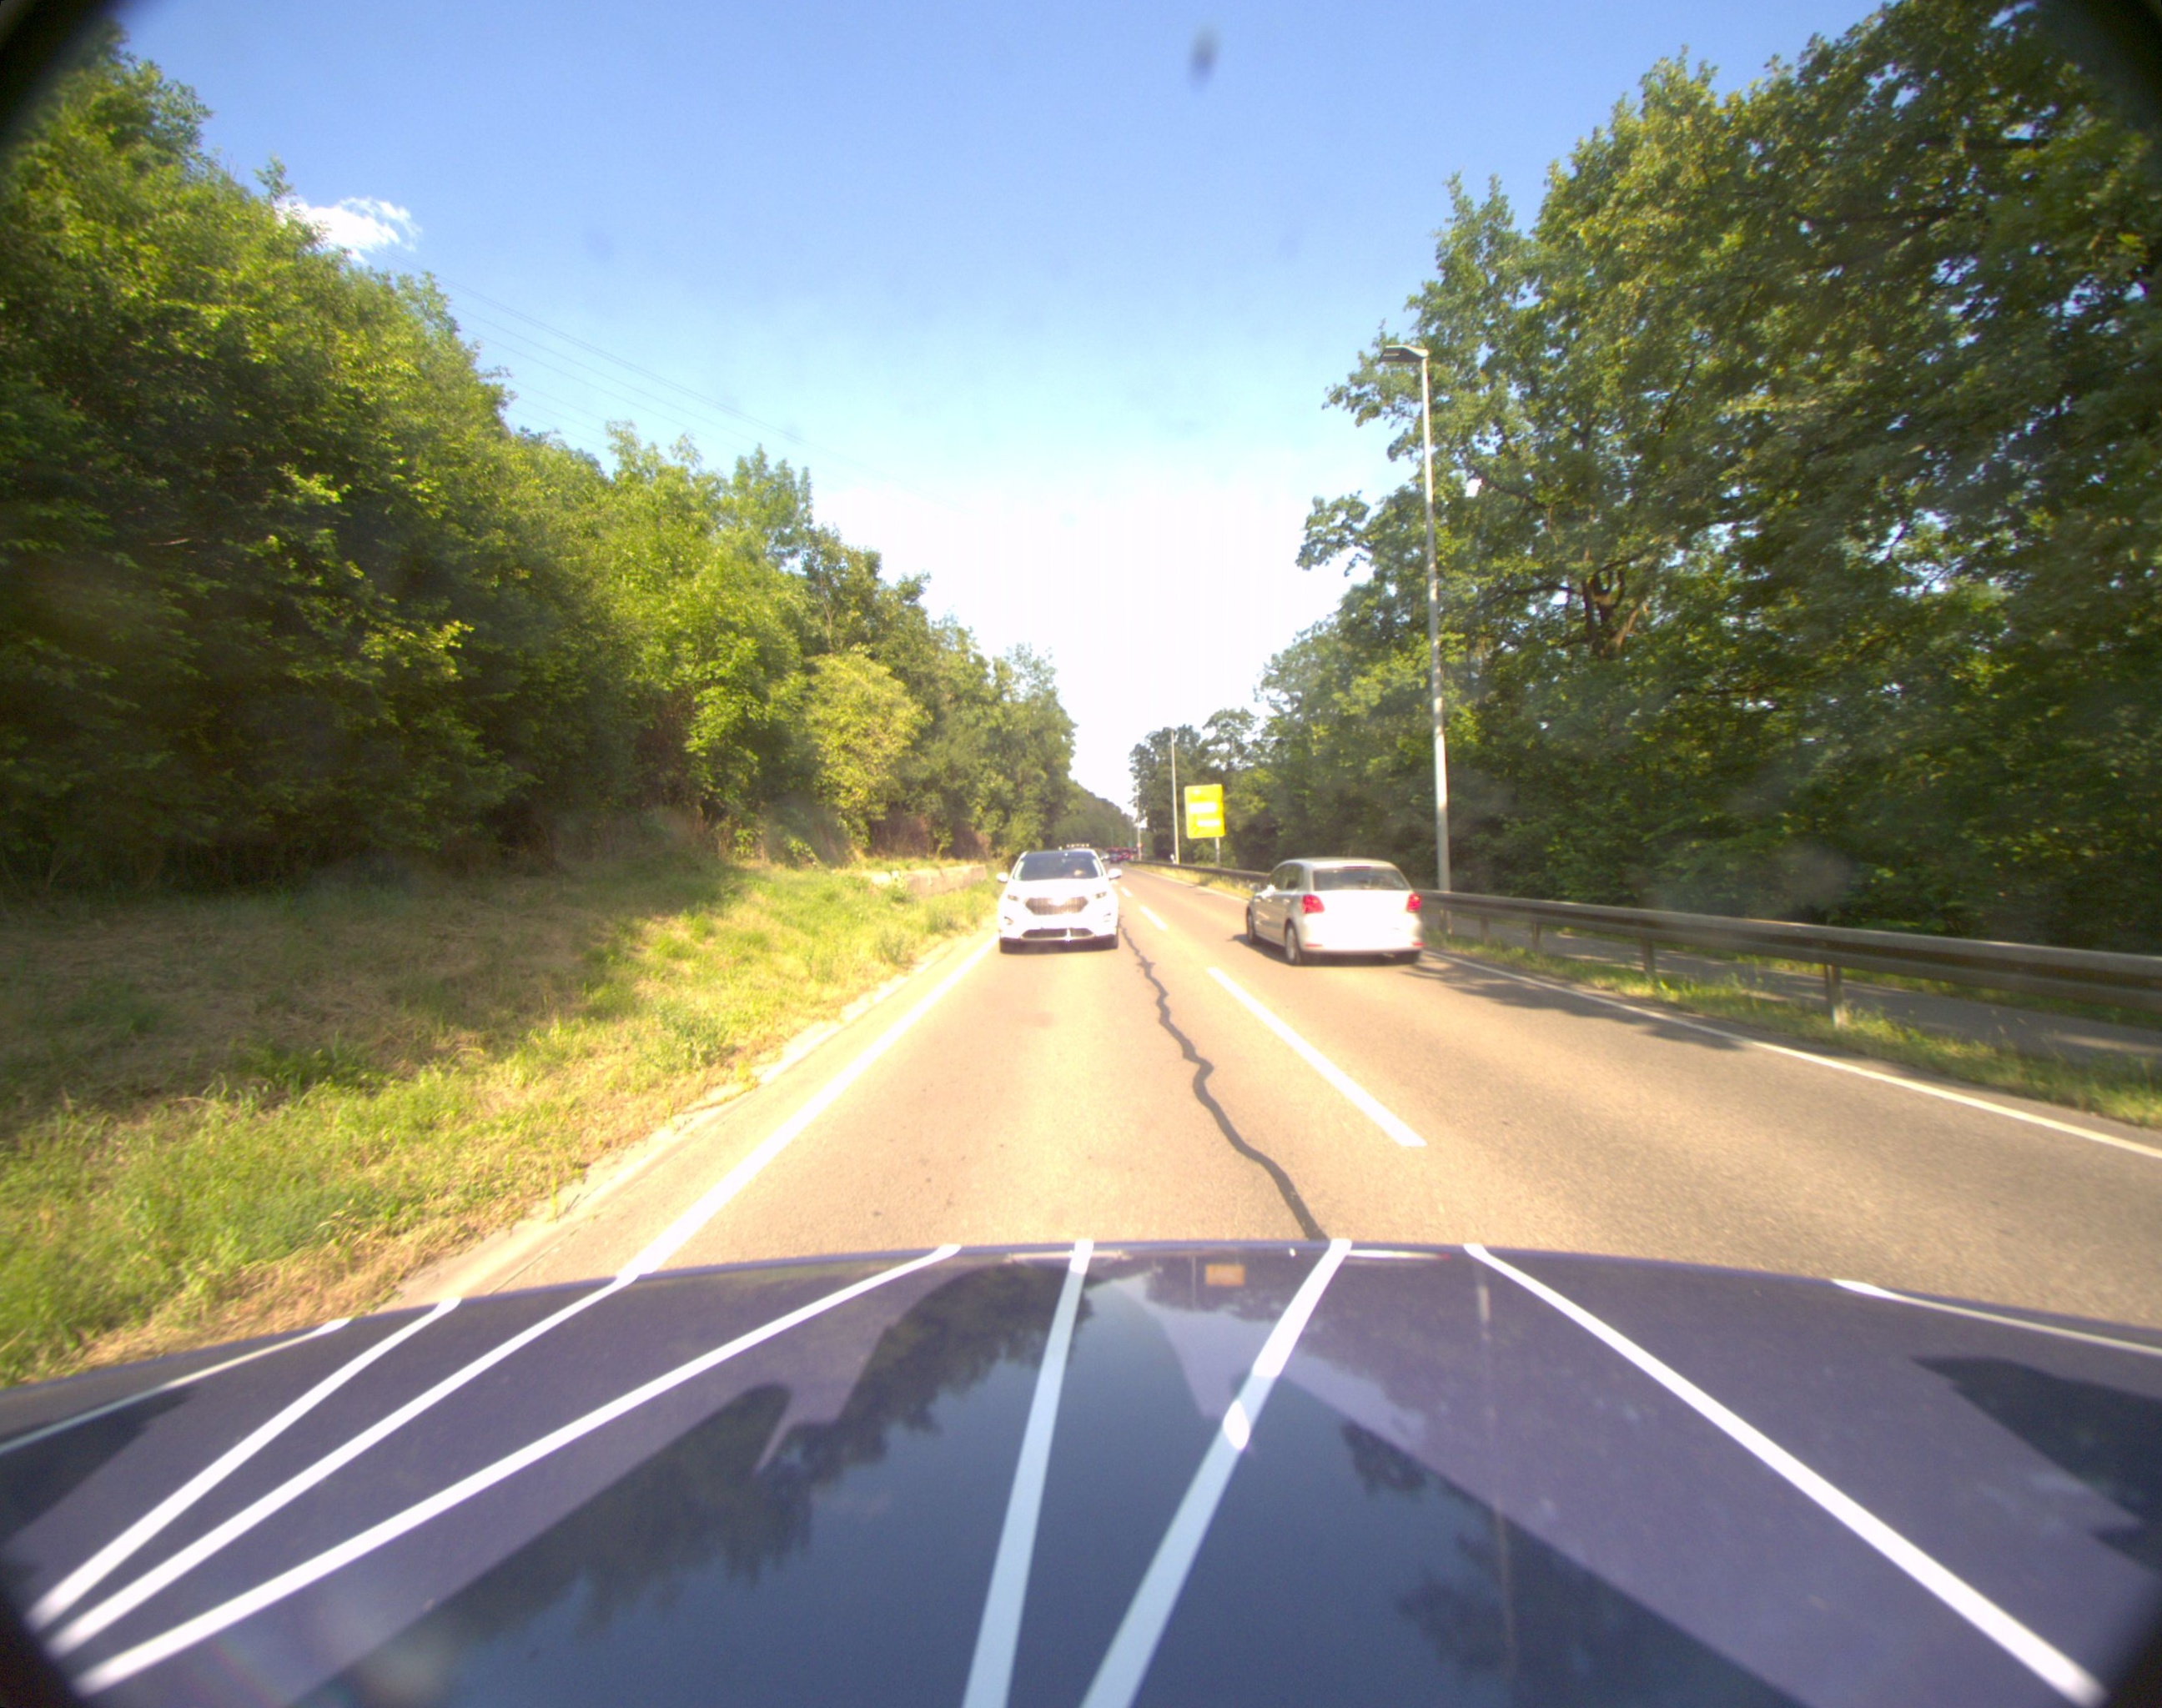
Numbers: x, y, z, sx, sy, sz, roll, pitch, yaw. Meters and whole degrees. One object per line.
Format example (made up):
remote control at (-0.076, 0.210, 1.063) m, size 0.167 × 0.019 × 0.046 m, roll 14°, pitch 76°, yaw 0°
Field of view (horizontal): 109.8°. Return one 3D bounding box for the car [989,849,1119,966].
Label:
car at (-0.378, 0.798, 13.519) m, size 1.894 × 1.691 × 4.136 m, roll -2°, pitch 0°, yaw 1°

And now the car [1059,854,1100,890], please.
car at (-0.036, 0.774, 35.212) m, size 1.704 × 1.477 × 4.136 m, roll -2°, pitch 0°, yaw 1°

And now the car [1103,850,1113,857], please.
car at (6.528, -0.047, 185.850) m, size 1.997 × 1.647 × 4.002 m, roll -1°, pitch 0°, yaw 8°

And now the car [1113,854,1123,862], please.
car at (6.392, 0.705, 132.899) m, size 1.695 × 1.412 × 4.142 m, roll 0°, pitch 1°, yaw 2°

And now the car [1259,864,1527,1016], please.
car at (3.473, 0.853, 9.321) m, size 1.627 × 1.369 × 4.047 m, roll -1°, pitch 0°, yaw 0°

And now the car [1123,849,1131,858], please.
car at (10.069, -0.132, 165.706) m, size 1.752 × 1.707 × 4.222 m, roll -1°, pitch 0°, yaw 3°

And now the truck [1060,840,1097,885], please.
truck at (-0.084, 0.443, 43.307) m, size 1.894 × 2.334 × 5.273 m, roll -2°, pitch 0°, yaw 1°
